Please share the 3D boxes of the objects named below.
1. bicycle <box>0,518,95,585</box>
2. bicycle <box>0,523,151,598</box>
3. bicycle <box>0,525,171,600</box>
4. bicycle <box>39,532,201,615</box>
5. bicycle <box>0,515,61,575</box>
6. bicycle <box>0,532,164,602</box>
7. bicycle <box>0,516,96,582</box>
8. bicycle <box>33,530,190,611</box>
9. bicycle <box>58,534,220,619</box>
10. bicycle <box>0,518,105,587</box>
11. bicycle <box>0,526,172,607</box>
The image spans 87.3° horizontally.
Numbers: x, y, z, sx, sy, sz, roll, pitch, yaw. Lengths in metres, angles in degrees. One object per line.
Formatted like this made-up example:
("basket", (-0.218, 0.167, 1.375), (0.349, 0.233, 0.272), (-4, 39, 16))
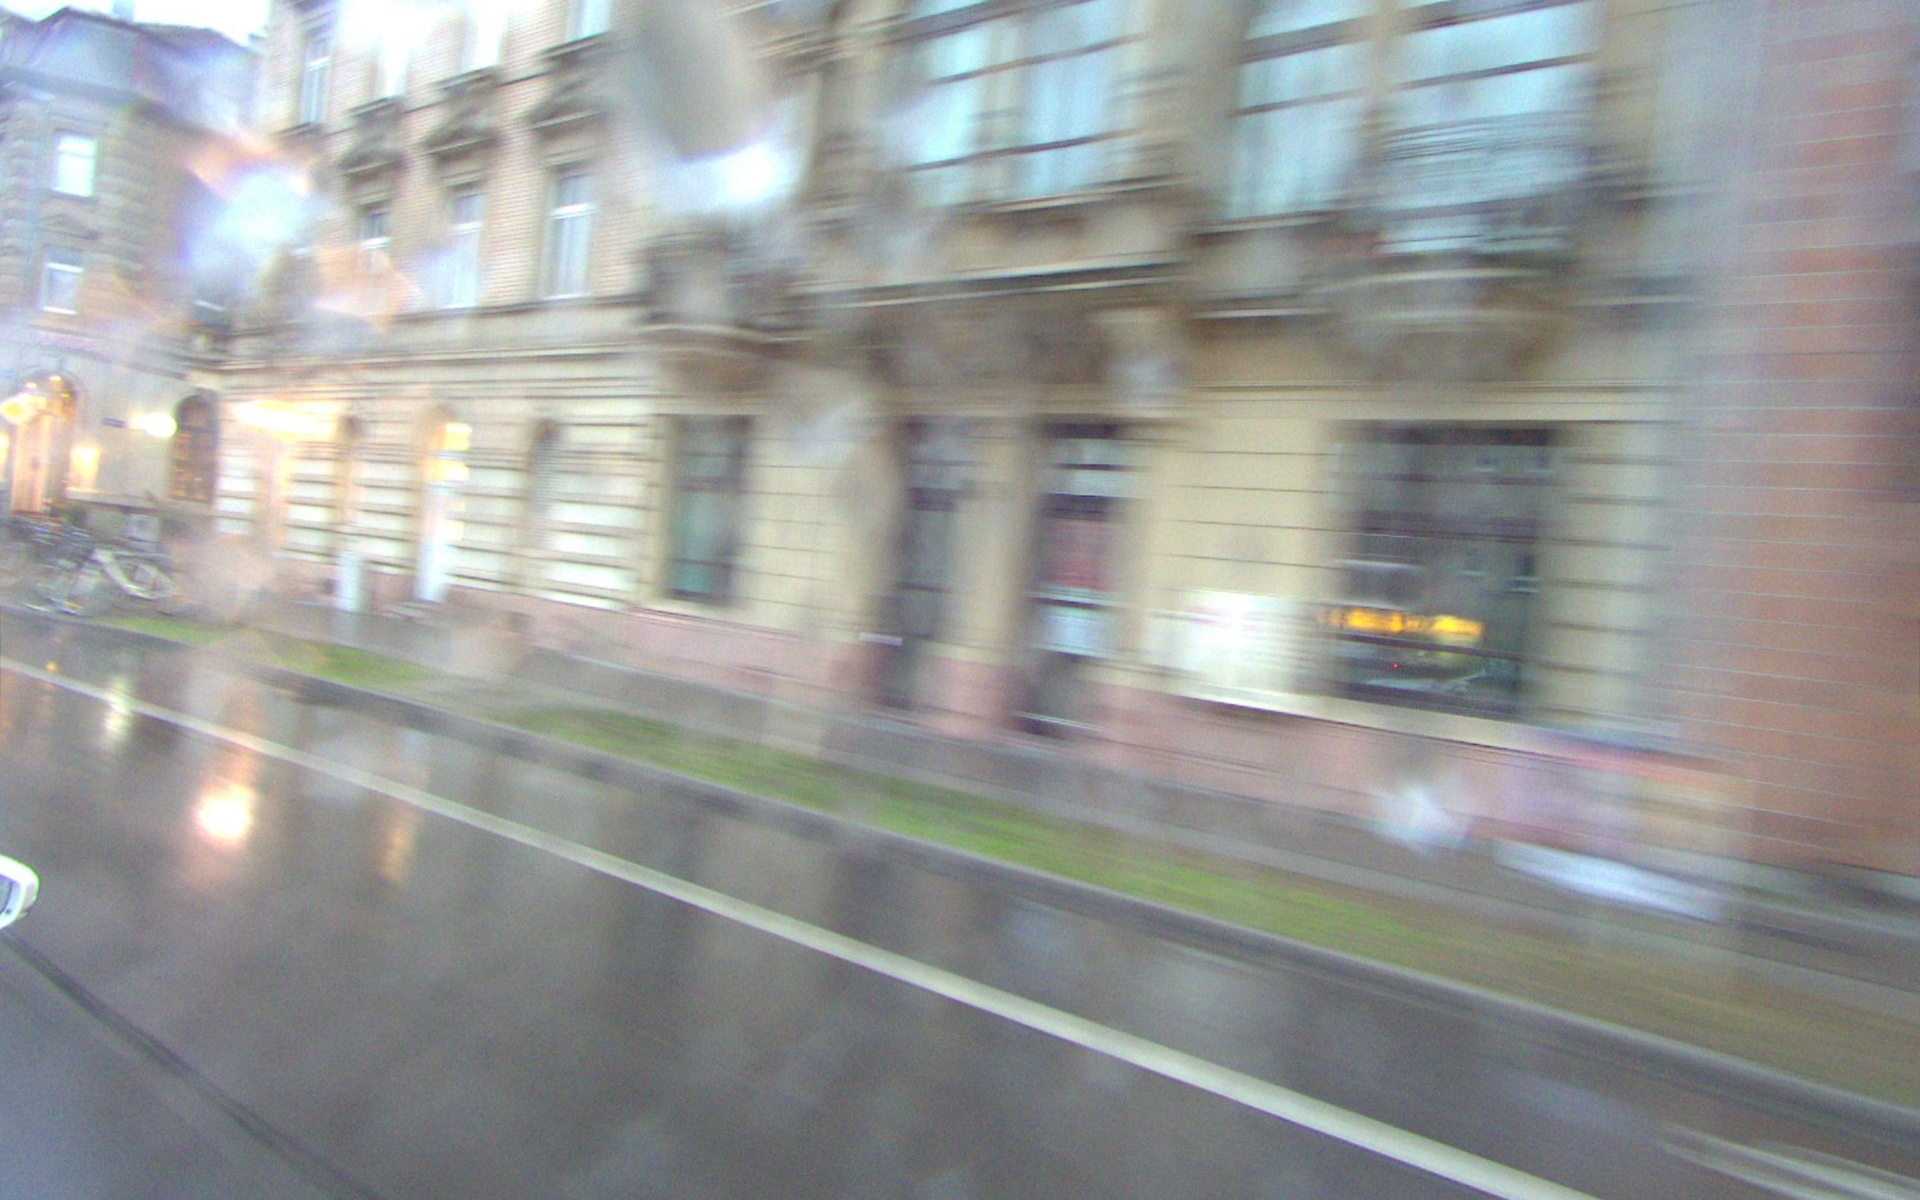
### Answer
("bicycle", (-16.216, -0.848, 17.199), (0.470, 1.066, 2.088), (7, 2, 30))
("bicycle", (-14.776, -0.640, 16.611), (0.476, 1.068, 2.146), (7, 1, 30))
("bicycle", (-14.214, -0.584, 16.341), (0.418, 1.069, 2.145), (8, 3, 30))
("bicycle", (-12.149, -0.360, 14.607), (0.365, 1.069, 1.731), (7, 1, 30))
("bicycle", (-17.836, -1.039, 18.533), (0.469, 1.065, 2.094), (6, 1, 6))
("bicycle", (-13.670, -0.488, 15.635), (0.418, 0.984, 2.008), (7, 3, 30))
("bicycle", (-16.929, -0.942, 18.035), (0.470, 1.065, 2.089), (7, 1, 30))
("bicycle", (-12.656, -0.409, 15.064), (0.365, 1.069, 1.731), (7, 1, 30))
("bicycle", (-11.701, -0.309, 14.400), (0.365, 1.069, 1.731), (7, 1, 30))
("bicycle", (-15.807, -0.802, 16.911), (0.418, 1.069, 2.144), (8, 3, 30))
("bicycle", (-13.281, -0.482, 15.291), (0.418, 1.110, 2.008), (7, 3, 30))
